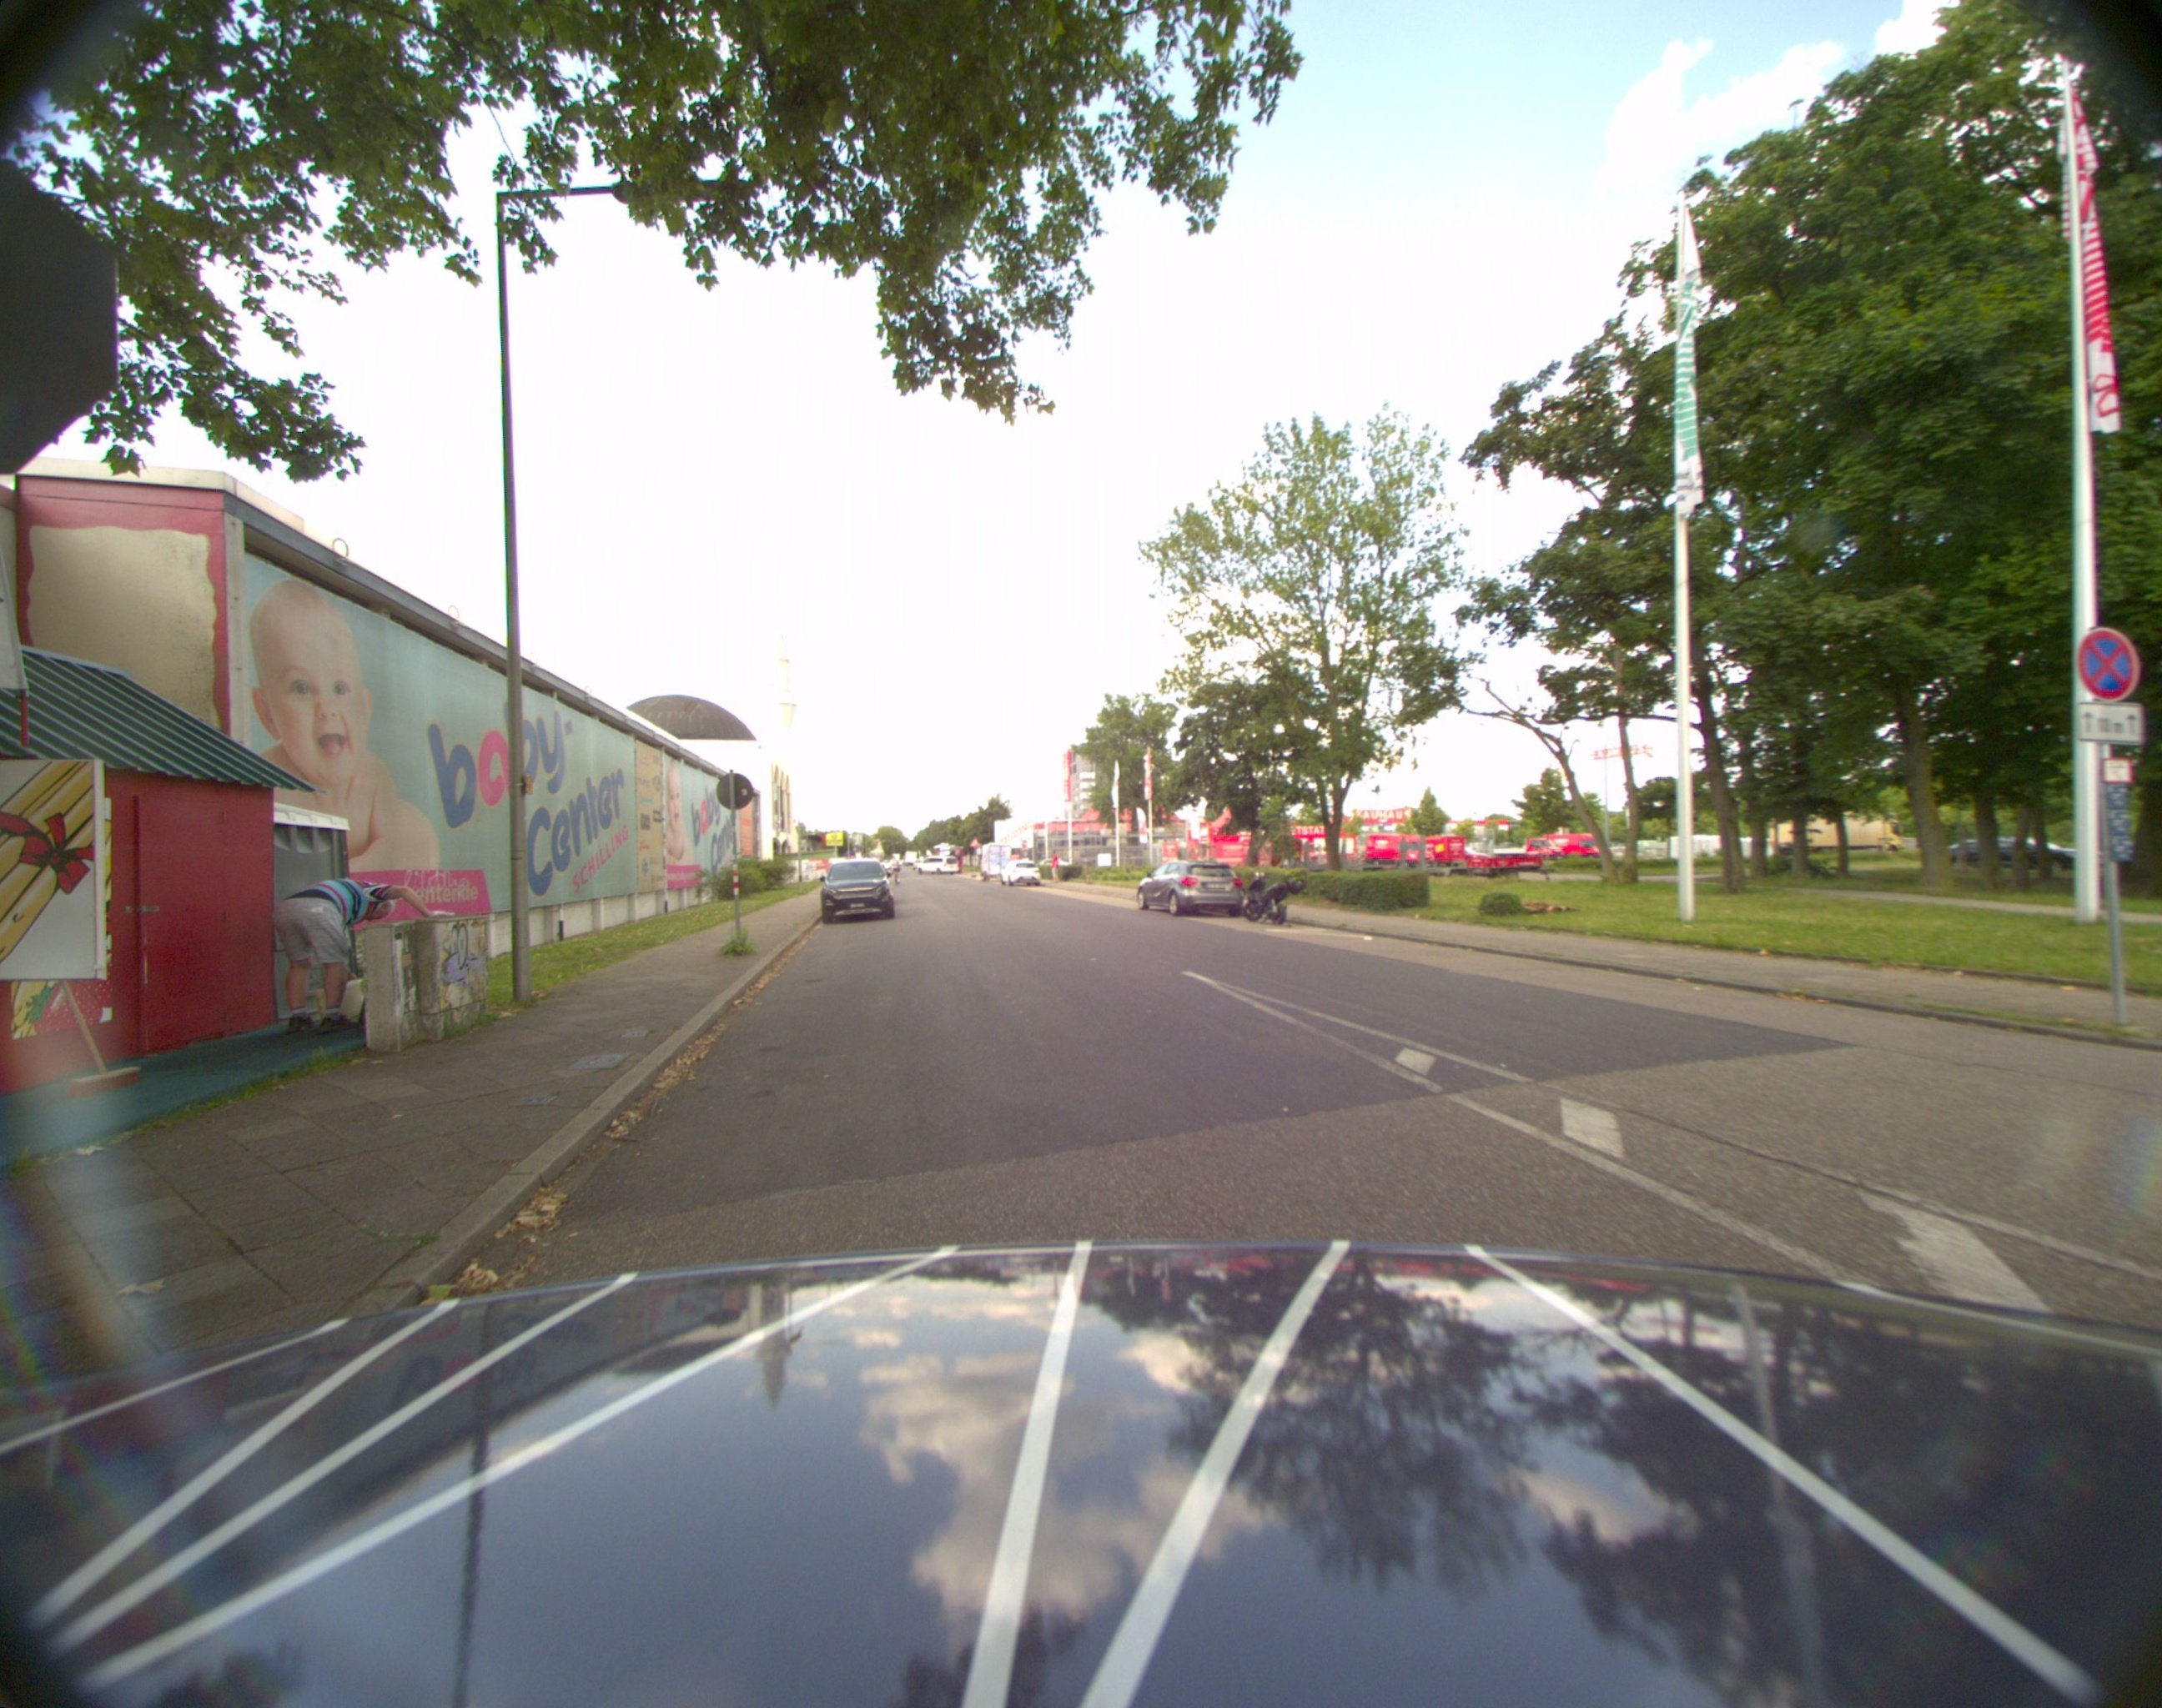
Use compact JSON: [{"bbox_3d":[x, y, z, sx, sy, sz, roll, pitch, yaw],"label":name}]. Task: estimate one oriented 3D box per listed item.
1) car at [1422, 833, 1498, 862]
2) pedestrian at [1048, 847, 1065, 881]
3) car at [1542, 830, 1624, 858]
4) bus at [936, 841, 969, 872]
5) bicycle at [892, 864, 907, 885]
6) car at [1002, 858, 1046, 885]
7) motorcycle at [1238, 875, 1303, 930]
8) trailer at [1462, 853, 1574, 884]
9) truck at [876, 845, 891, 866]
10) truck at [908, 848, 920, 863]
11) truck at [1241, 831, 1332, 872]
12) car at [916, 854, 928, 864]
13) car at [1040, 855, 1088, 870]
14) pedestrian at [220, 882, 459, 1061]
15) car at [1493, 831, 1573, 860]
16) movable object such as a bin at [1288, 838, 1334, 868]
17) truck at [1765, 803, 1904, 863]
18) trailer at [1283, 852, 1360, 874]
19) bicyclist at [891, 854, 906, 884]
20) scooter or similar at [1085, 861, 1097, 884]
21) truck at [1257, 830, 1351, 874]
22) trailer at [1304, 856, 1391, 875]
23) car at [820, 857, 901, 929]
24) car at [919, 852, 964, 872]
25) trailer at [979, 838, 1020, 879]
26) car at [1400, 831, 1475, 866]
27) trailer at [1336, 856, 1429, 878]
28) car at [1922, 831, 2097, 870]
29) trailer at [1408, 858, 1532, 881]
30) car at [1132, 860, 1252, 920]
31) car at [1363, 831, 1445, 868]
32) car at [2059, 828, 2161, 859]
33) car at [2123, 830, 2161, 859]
[{"bbox_3d":[33.033,-0.619,66.478,2.275,2.402,6.428,-2,2,-15],"label":"car"},{"bbox_3d":[-1.461,0.590,45.353,0.812,2.002,0.884,-2,1,-15],"label":"pedestrian"},{"bbox_3d":[46.202,-0.984,70.178,2.275,2.402,6.428,-2,2,-15],"label":"car"},{"bbox_3d":[-15.837,0.272,92.773,2.673,3.402,13.201,2,-1,-14],"label":"bus"},{"bbox_3d":[-11.363,1.274,47.464,0.801,1.173,2.623,-3,1,-15],"label":"bicycle"},{"bbox_3d":[-3.372,1.002,44.113,1.772,1.470,4.229,1,-1,-15],"label":"car"},{"bbox_3d":[4.195,1.055,16.972,0.623,1.131,1.800,2,0,-14],"label":"motorcycle"},{"bbox_3d":[18.455,0.587,32.156,3.829,1.184,1.713,-1,0,-9],"label":"trailer"},{"bbox_3d":[-42.073,0.333,161.751,2.788,4.093,8.268,-4,1,-14],"label":"truck"},{"bbox_3d":[-44.209,0.379,201.081,2.758,3.701,7.161,0,0,-15],"label":"truck"},{"bbox_3d":[13.908,-0.193,51.489,5.775,2.579,1.813,-1,2,-12],"label":"truck"},{"bbox_3d":[-24.227,0.758,116.023,1.597,1.456,3.756,0,0,-15],"label":"car"},{"bbox_3d":[-1.824,0.889,79.555,4.701,1.445,1.952,-1,0,-13],"label":"car"},{"bbox_3d":[-6.144,0.928,6.387,1.017,1.306,0.964,-2,1,-6],"label":"pedestrian"},{"bbox_3d":[40.365,-0.818,68.124,2.275,2.402,6.428,-2,2,-15],"label":"car"},{"bbox_3d":[18.505,-0.073,61.236,2.001,2.262,3.541,-1,0,-14],"label":"movable object such as a bin"},{"bbox_3d":[52.812,-1.512,53.278,8.354,3.927,2.983,-2,2,-14],"label":"truck"},{"bbox_3d":[14.541,0.524,45.912,4.250,1.114,1.669,-2,2,-16],"label":"trailer"},{"bbox_3d":[-11.385,0.909,47.428,0.809,1.782,1.205,-4,1,-15],"label":"bicyclist"},{"bbox_3d":[0.517,0.976,41.319,0.519,1.186,1.279,-2,1,-3],"label":"scooter or similar"},{"bbox_3d":[14.142,-0.168,48.260,5.568,2.579,1.776,-2,2,-14],"label":"truck"},{"bbox_3d":[15.261,0.645,43.609,4.250,0.908,2.156,-2,2,-16],"label":"trailer"},{"bbox_3d":[-6.068,0.969,21.053,1.815,1.656,4.633,-4,1,-16],"label":"car"},{"bbox_3d":[-14.861,0.863,80.909,5.003,1.938,1.996,-1,0,41],"label":"car"},{"bbox_3d":[-5.912,0.346,54.616,2.148,2.766,4.697,1,0,-15],"label":"trailer"},{"bbox_3d":[27.955,-0.508,59.811,2.274,2.579,5.714,-2,2,-14],"label":"car"},{"bbox_3d":[15.958,0.667,40.298,4.250,0.908,2.020,-2,2,-16],"label":"trailer"},{"bbox_3d":[38.544,-0.158,31.718,1.574,1.503,4.351,-1,1,-15],"label":"car"},{"bbox_3d":[17.698,0.701,34.679,4.610,0.907,2.186,-1,0,-9],"label":"trailer"},{"bbox_3d":[2.859,0.893,20.554,1.716,1.411,4.326,1,0,-13],"label":"car"},{"bbox_3d":[24.007,-0.389,56.846,2.274,2.579,6.428,-2,2,-14],"label":"car"},{"bbox_3d":[49.081,-0.496,35.063,2.001,1.404,4.405,-2,1,-14],"label":"car"},{"bbox_3d":[54.577,-0.495,36.791,2.001,1.404,4.405,-2,1,-14],"label":"car"}]
